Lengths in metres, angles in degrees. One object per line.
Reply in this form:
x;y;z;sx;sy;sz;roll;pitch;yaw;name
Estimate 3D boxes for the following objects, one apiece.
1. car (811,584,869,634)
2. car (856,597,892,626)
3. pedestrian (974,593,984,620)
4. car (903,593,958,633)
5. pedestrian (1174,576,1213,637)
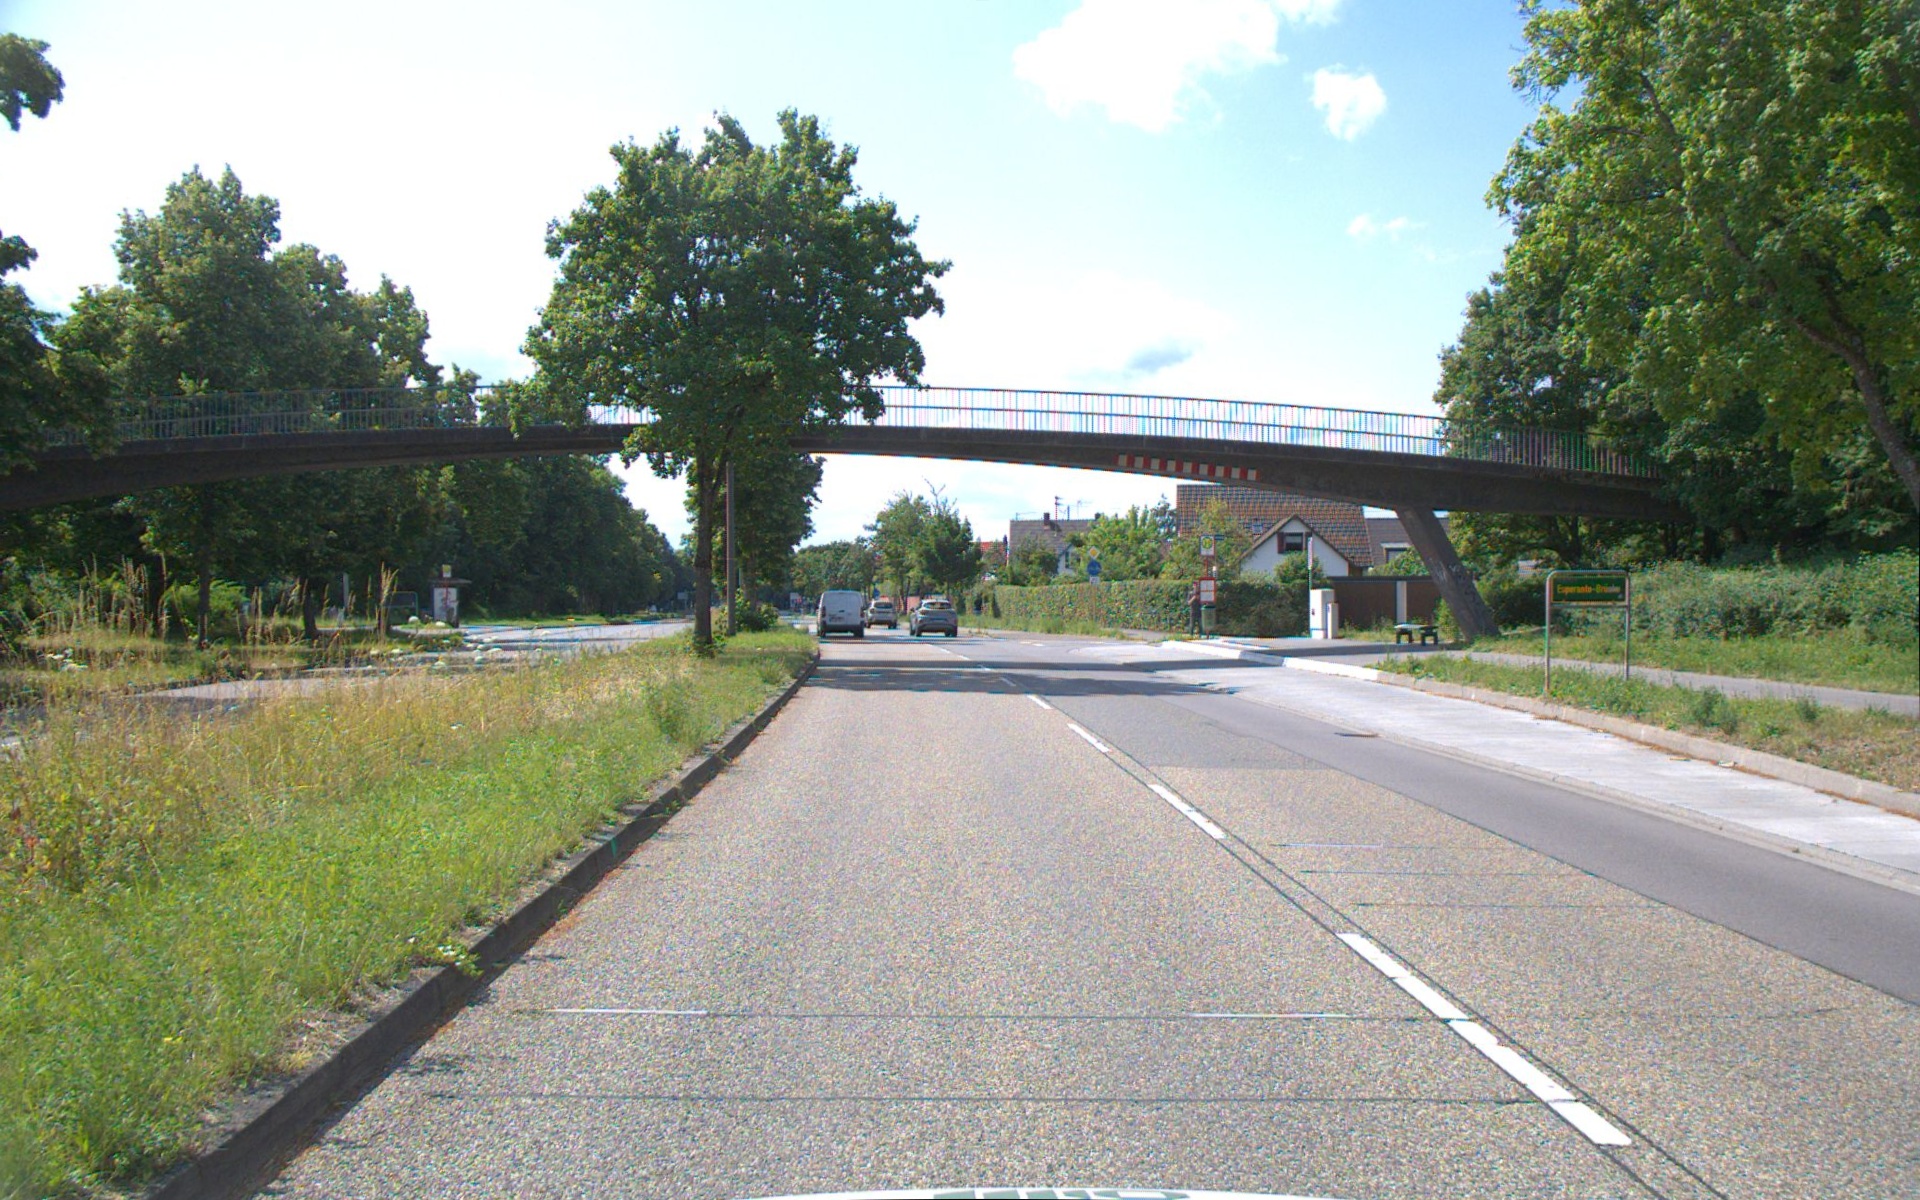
-4.895;0.342;67.063;2.027;1.945;4.637;0;0;-8;car
-5.112;0.677;98.048;1.840;1.681;3.993;0;0;-8;car
1.222;0.404;105.788;0.549;1.706;0.633;0;0;-9;pedestrian
-1.273;0.555;69.990;1.840;1.617;4.177;0;0;-8;car
7.378;0.210;52.351;0.936;1.856;1.086;-2;-2;-5;pedestrian
